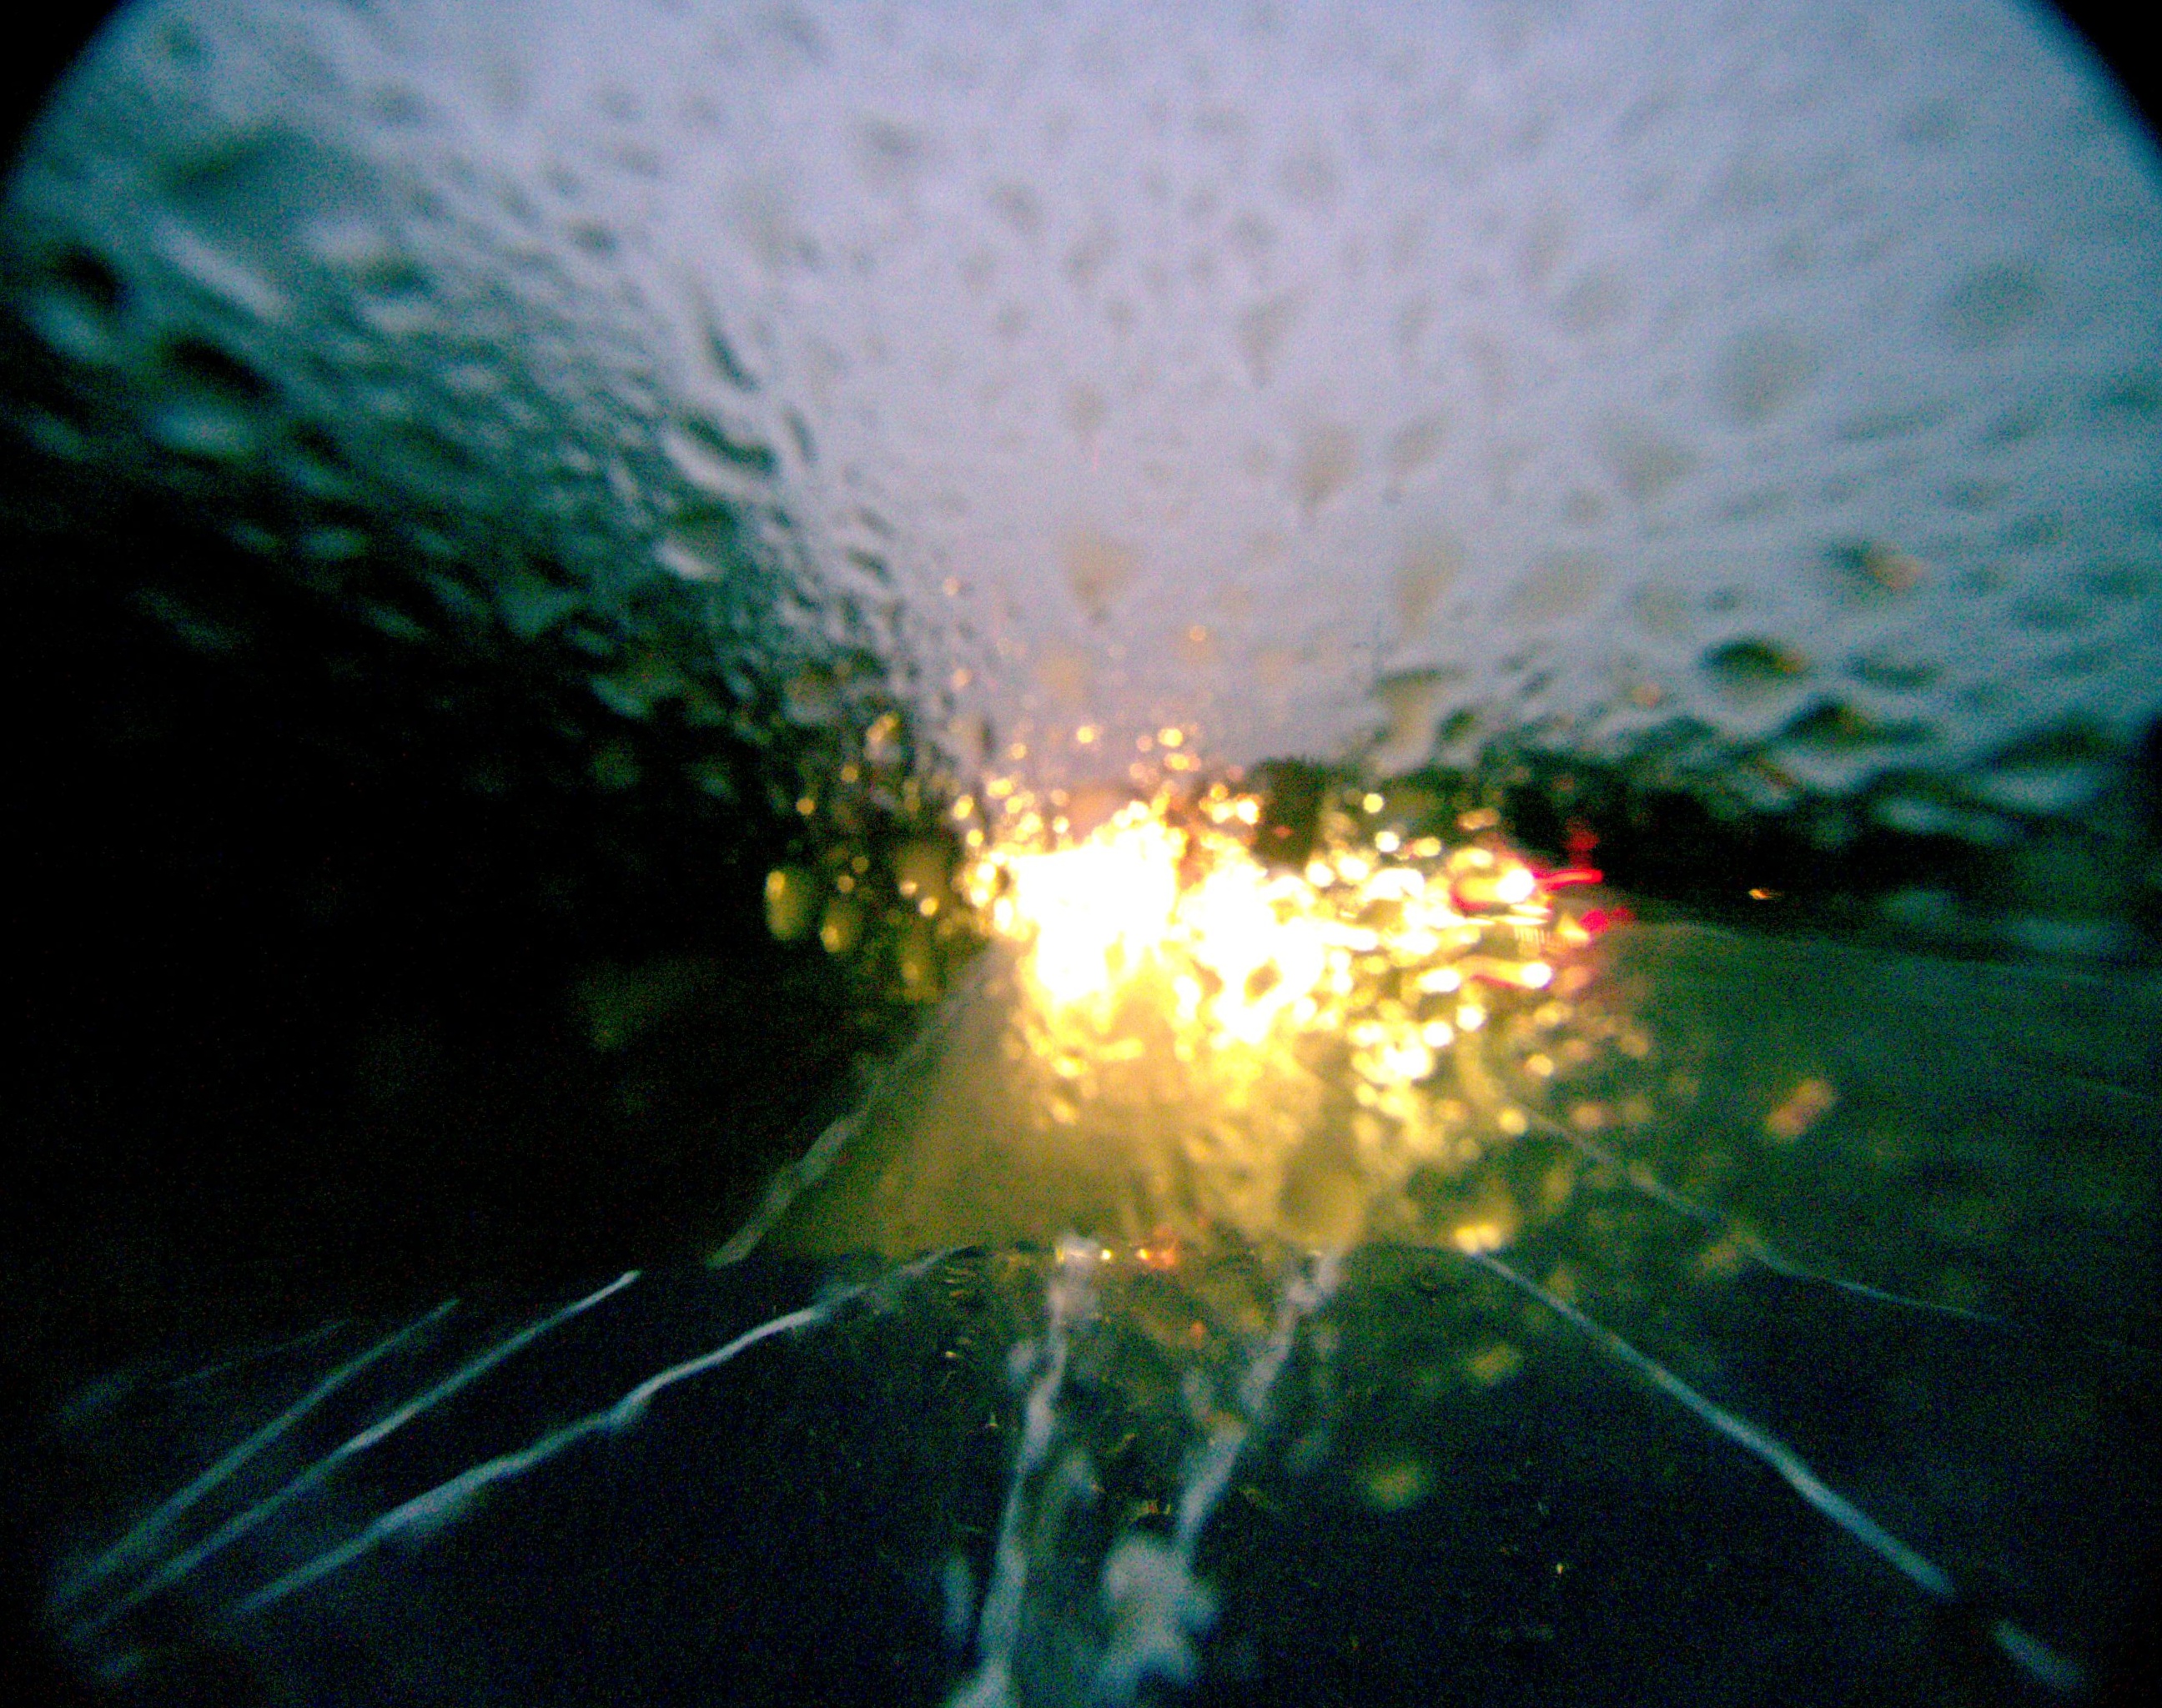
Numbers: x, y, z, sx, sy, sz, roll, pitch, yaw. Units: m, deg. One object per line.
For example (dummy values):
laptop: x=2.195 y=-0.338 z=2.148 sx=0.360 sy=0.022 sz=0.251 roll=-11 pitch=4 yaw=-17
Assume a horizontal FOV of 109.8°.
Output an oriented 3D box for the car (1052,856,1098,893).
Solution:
car: x=-0.200 y=0.849 z=33.585 sx=1.850 sy=1.429 sz=4.244 roll=-1 pitch=1 yaw=2

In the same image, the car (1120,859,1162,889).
car: x=3.249 y=1.041 z=41.580 sx=1.637 sy=1.413 sz=4.169 roll=-2 pitch=1 yaw=-4

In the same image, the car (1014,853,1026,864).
car: x=-10.406 y=0.699 z=130.080 sx=1.703 sy=1.721 sz=3.996 roll=-2 pitch=2 yaw=-9

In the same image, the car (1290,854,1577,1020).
car: x=4.142 y=0.839 z=9.771 sx=1.717 sy=1.617 sz=4.217 roll=-1 pitch=0 yaw=0

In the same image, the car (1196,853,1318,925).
car: x=4.352 y=0.785 z=19.510 sx=2.010 sy=1.547 sz=4.516 roll=-2 pitch=1 yaw=-1

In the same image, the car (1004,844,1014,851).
car: x=-17.474 y=-1.519 z=184.045 sx=2.000 sy=1.639 sz=4.716 roll=-1 pitch=1 yaw=-11

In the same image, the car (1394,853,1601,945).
car: x=8.466 y=0.816 z=16.007 sx=1.828 sy=1.607 sz=4.573 roll=-1 pitch=0 yaw=0

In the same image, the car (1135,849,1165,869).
car: x=5.589 y=0.357 z=62.139 sx=1.650 sy=1.547 sz=4.378 roll=-1 pitch=1 yaw=-5
